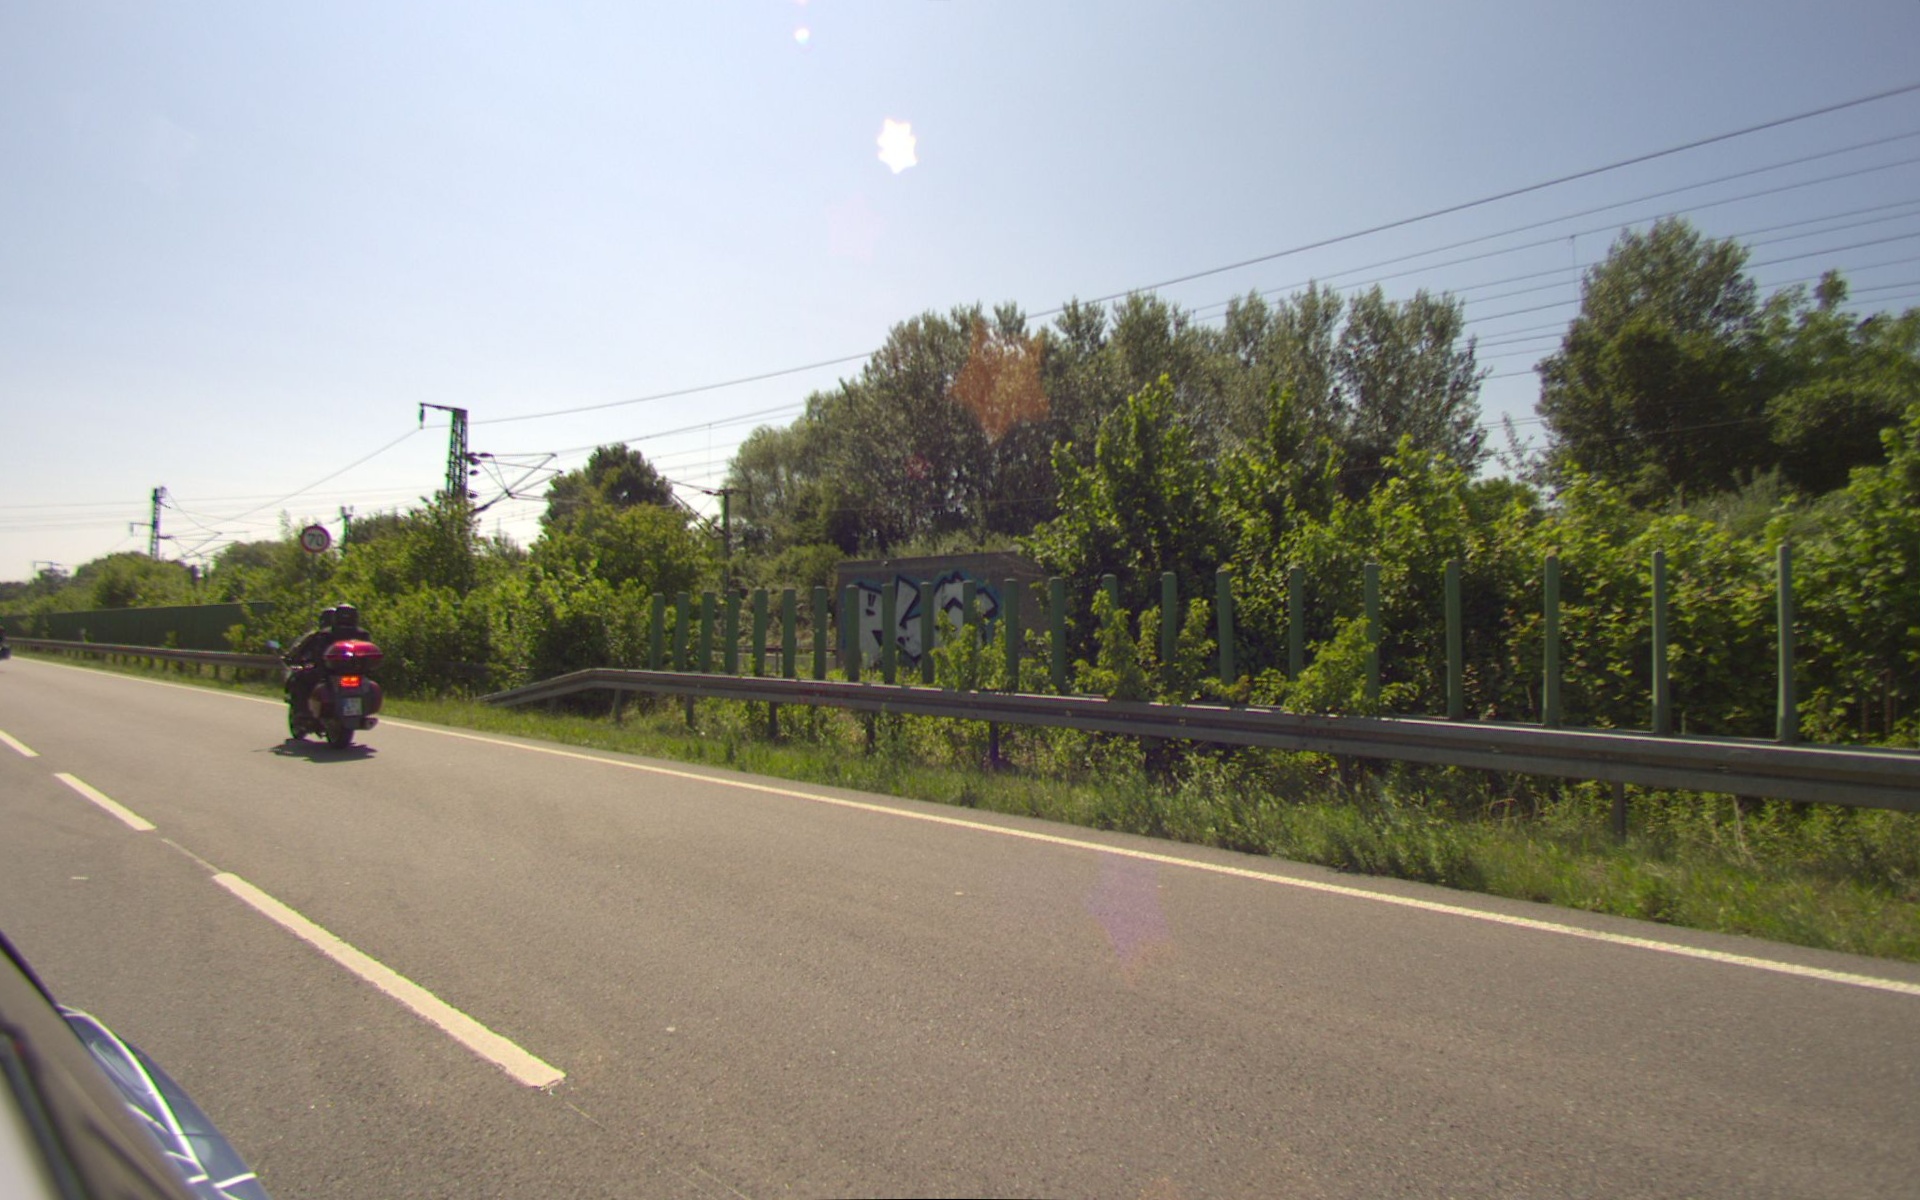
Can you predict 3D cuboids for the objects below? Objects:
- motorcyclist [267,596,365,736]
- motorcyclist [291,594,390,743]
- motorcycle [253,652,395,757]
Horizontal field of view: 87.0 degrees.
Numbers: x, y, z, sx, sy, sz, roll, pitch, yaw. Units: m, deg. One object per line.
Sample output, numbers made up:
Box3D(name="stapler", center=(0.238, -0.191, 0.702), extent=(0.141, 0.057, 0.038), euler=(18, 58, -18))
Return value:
Box3D(name="motorcyclist", center=(-7.705, 0.753, 12.107), extent=(1.003, 1.595, 0.750), euler=(-1, 0, 43))
Box3D(name="motorcyclist", center=(-7.011, 0.741, 11.455), extent=(0.863, 1.595, 0.741), euler=(-1, 0, 43))
Box3D(name="motorcycle", center=(-7.579, 1.179, 11.987), extent=(2.721, 1.021, 0.746), euler=(-1, 0, 43))
